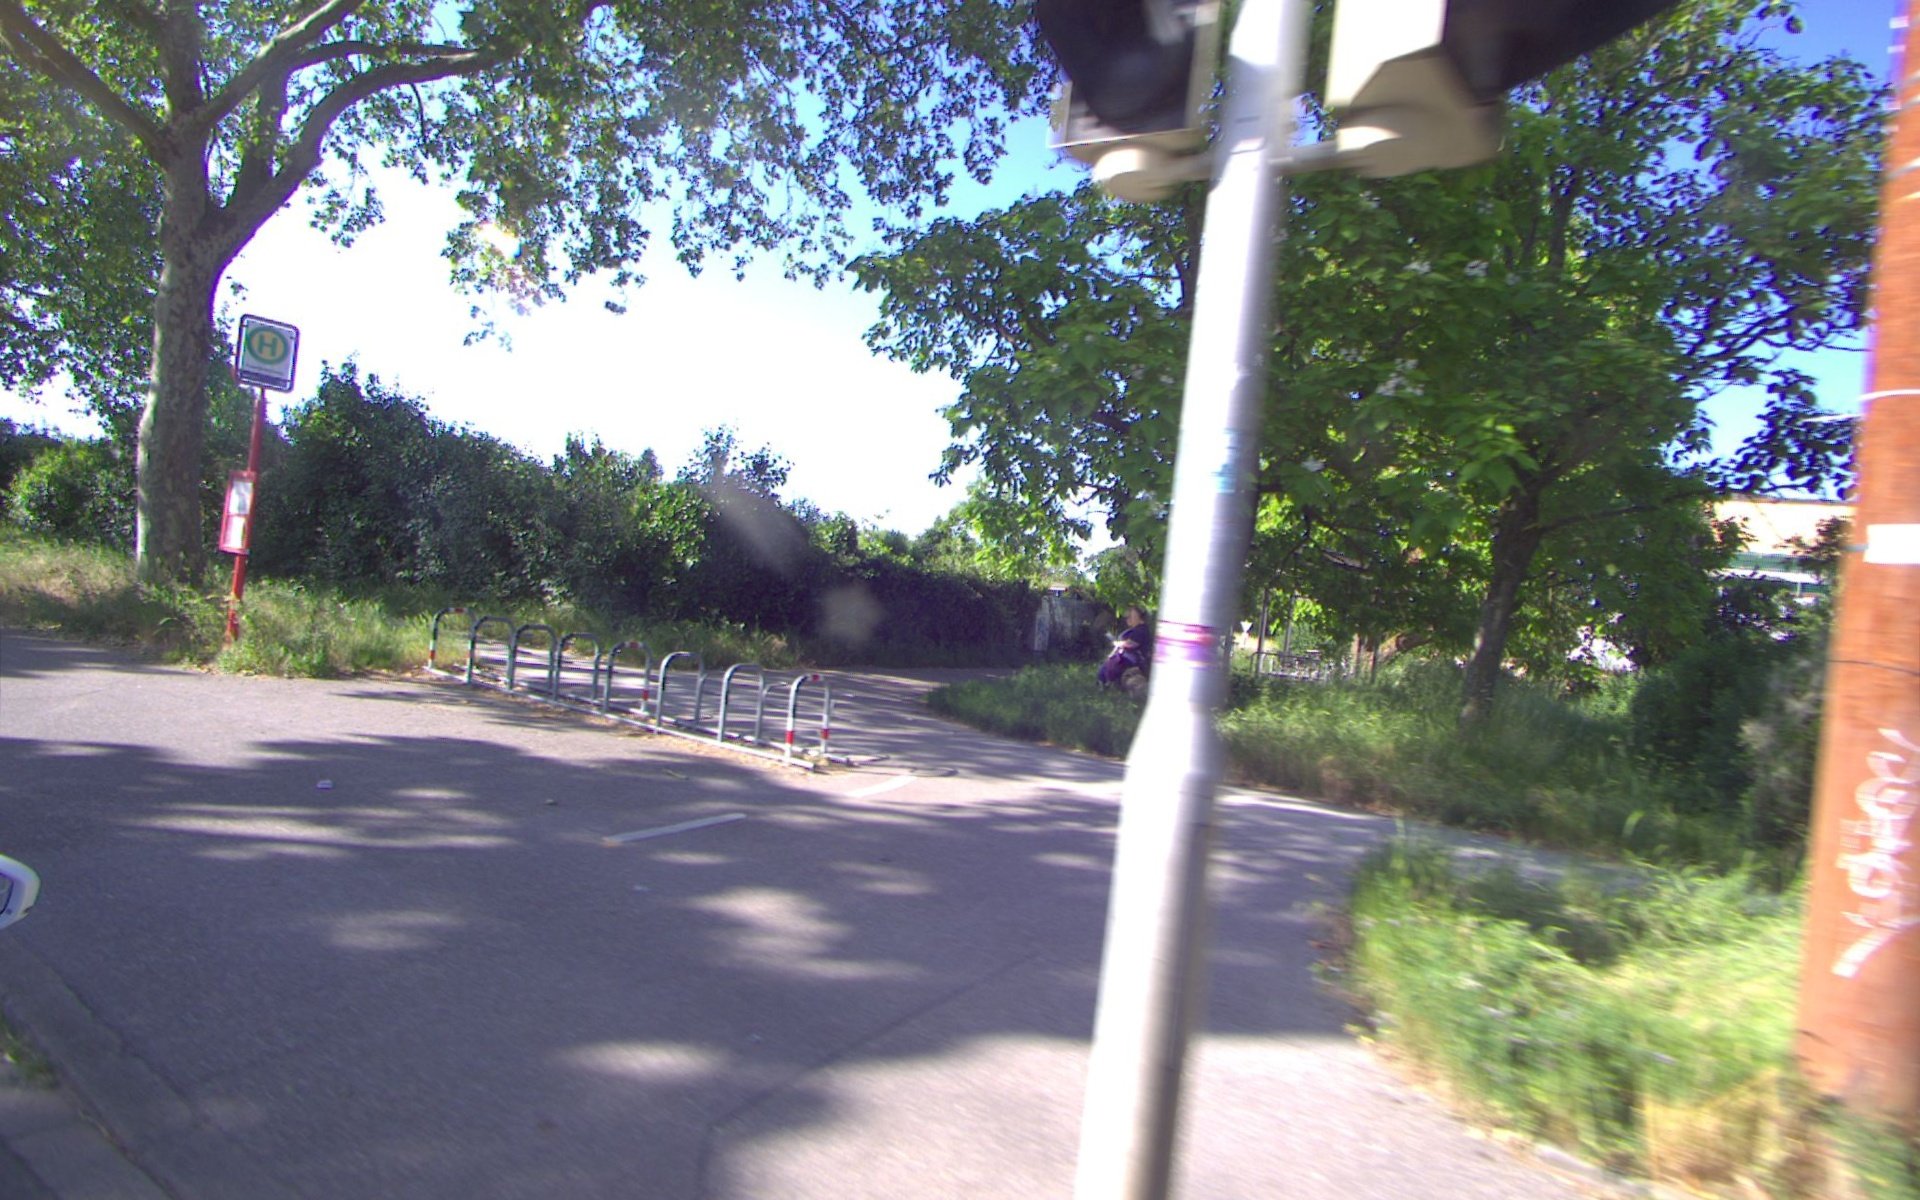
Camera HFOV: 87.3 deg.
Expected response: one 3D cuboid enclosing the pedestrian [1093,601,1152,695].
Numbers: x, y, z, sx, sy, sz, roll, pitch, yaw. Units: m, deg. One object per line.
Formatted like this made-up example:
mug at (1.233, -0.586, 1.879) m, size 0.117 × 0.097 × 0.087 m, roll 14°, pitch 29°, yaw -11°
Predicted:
pedestrian at (2.353, 0.697, 14.523) m, size 0.677 × 1.234 × 0.737 m, roll 7°, pitch -1°, yaw 11°
